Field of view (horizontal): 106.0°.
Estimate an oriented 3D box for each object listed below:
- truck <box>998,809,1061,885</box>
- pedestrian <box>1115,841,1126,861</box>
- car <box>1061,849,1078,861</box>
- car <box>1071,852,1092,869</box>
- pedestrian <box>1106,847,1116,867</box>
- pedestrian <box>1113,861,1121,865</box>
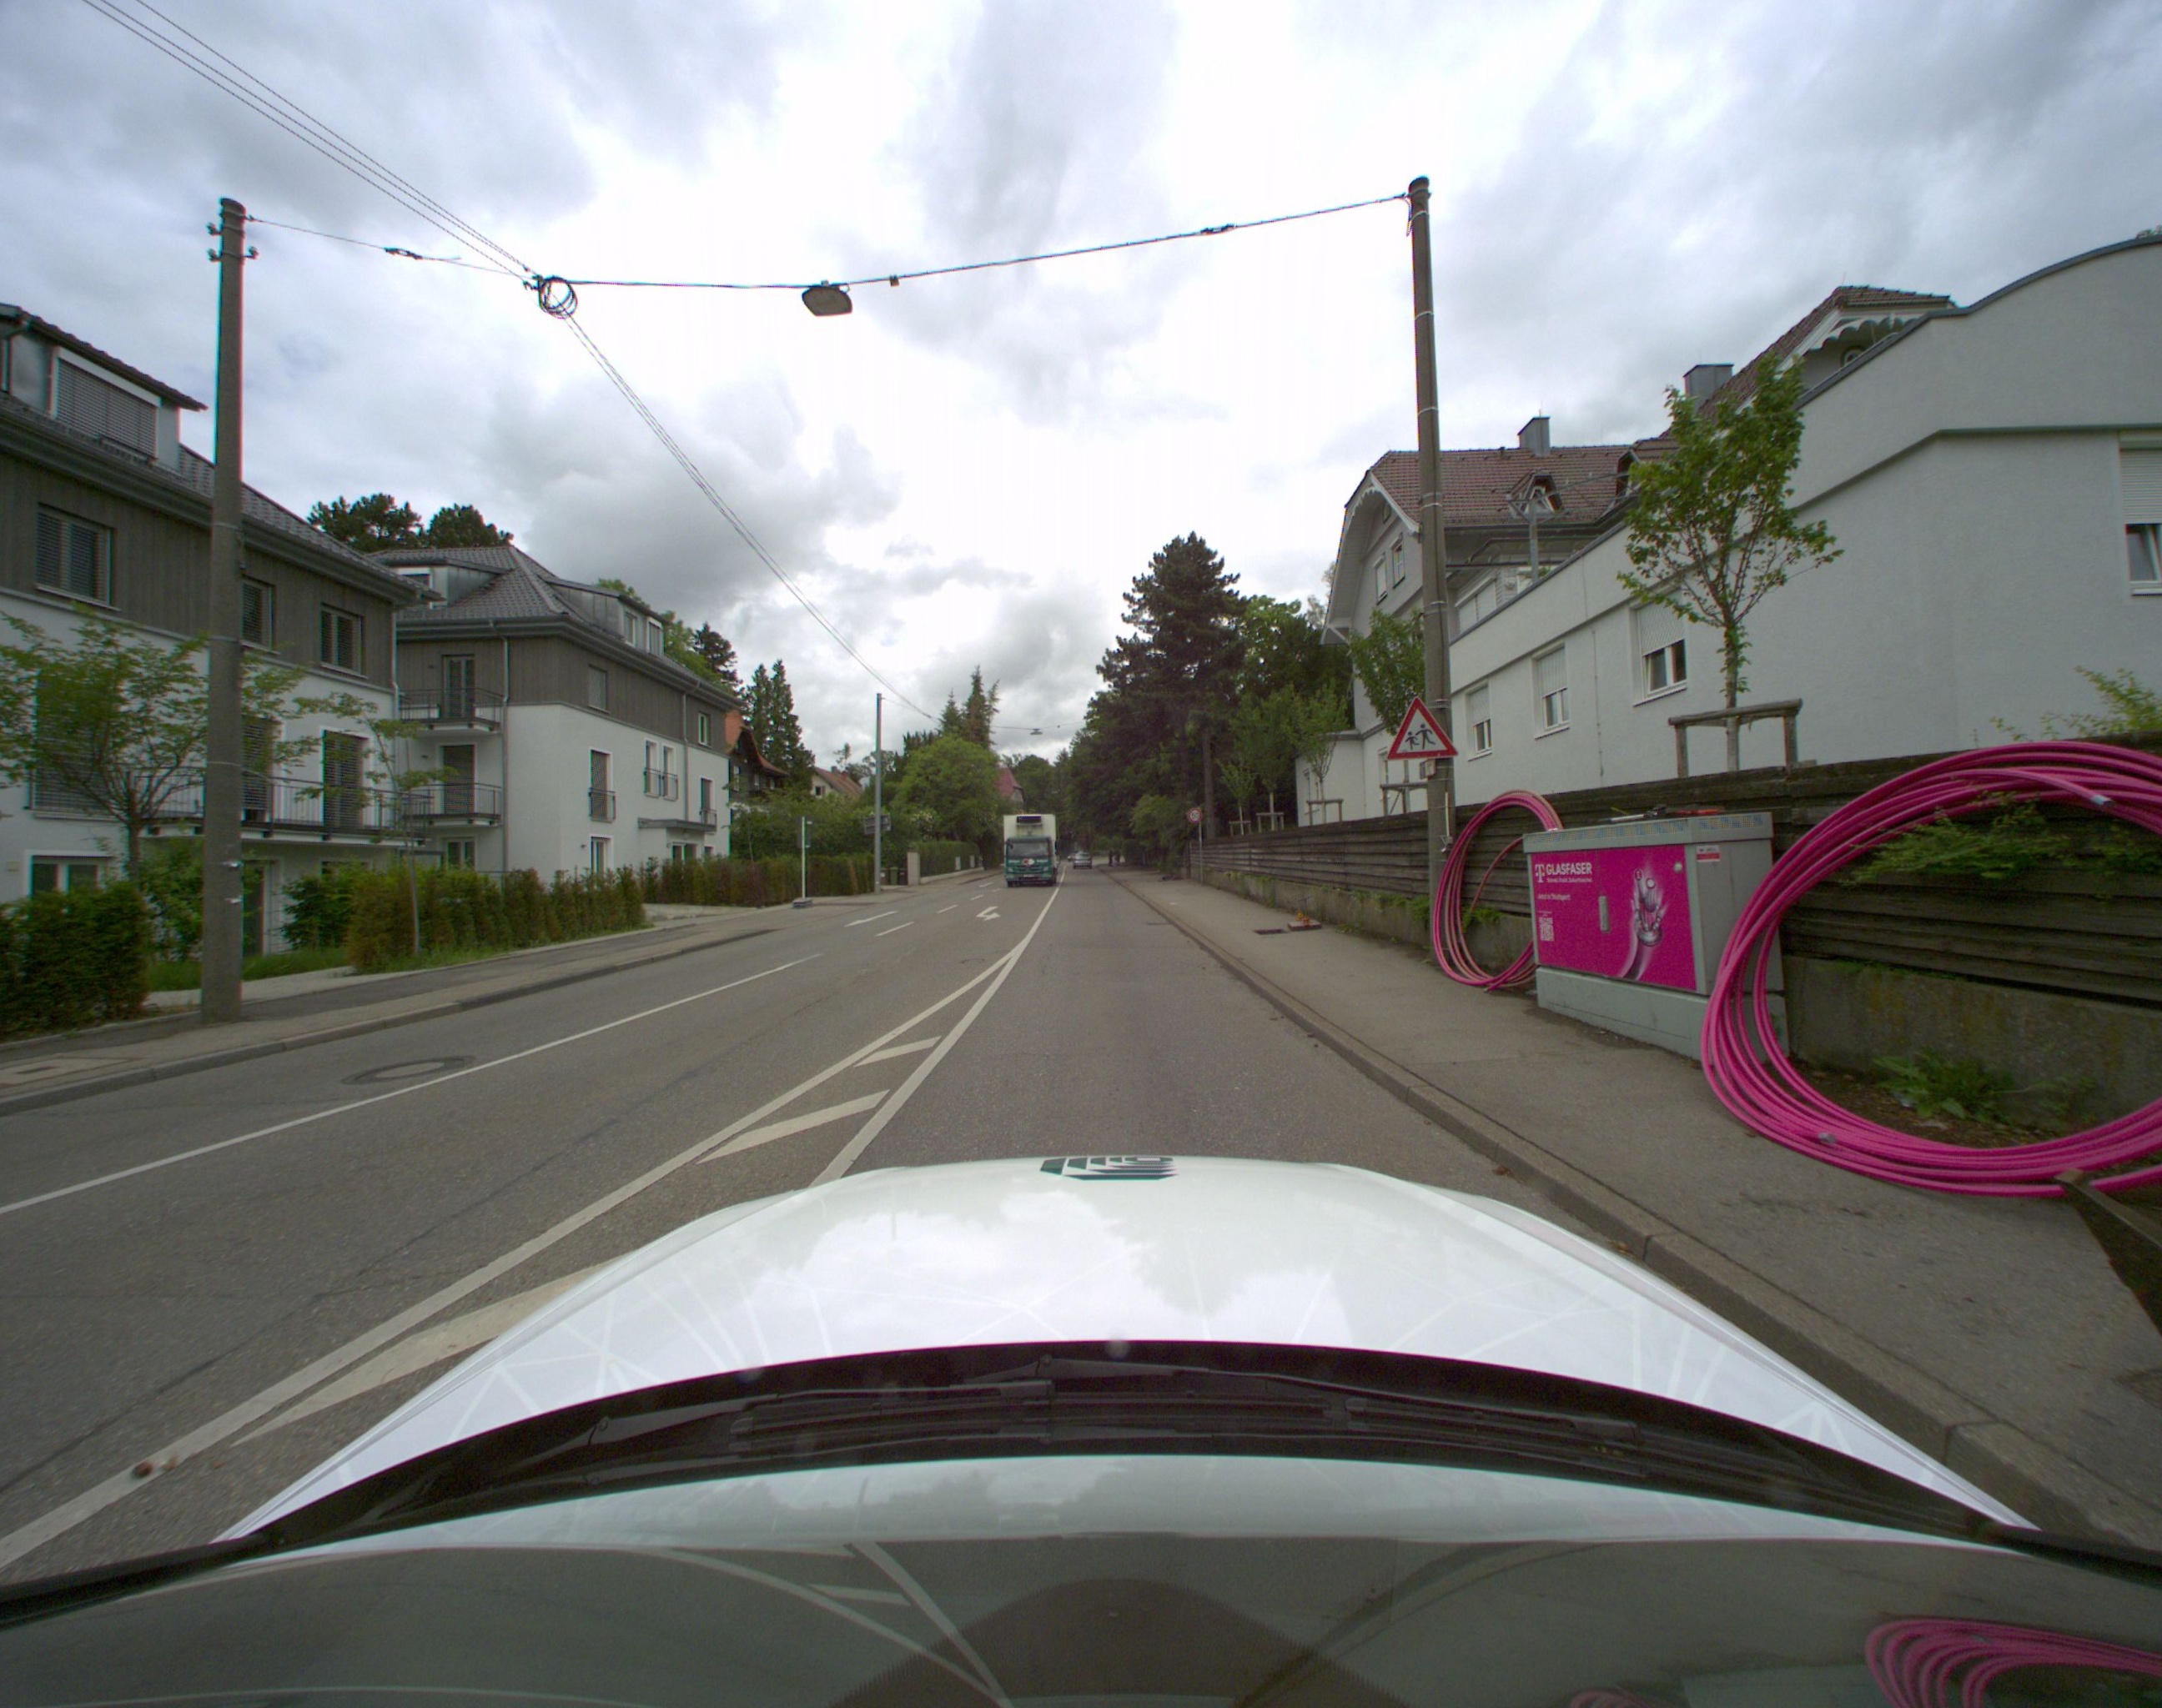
[{"bbox_3d":[-2.479,-0.287,41.781,2.770,3.461,7.489,-2,-1,-1],"label":"truck"},{"bbox_3d":[3.631,-0.250,74.963,0.695,1.807,0.665,-2,0,-42],"label":"pedestrian"},{"bbox_3d":[-1.480,0.164,106.835,1.672,1.471,4.026,-2,0,7],"label":"car"},{"bbox_3d":[0.016,0.604,74.561,1.792,1.415,4.333,-2,-1,-1],"label":"car"},{"bbox_3d":[2.749,0.263,74.613,0.804,1.807,0.740,-2,0,-2],"label":"pedestrian"},{"bbox_3d":[3.174,0.799,72.350,0.670,0.393,0.740,-2,0,-1],"label":"pedestrian"}]
